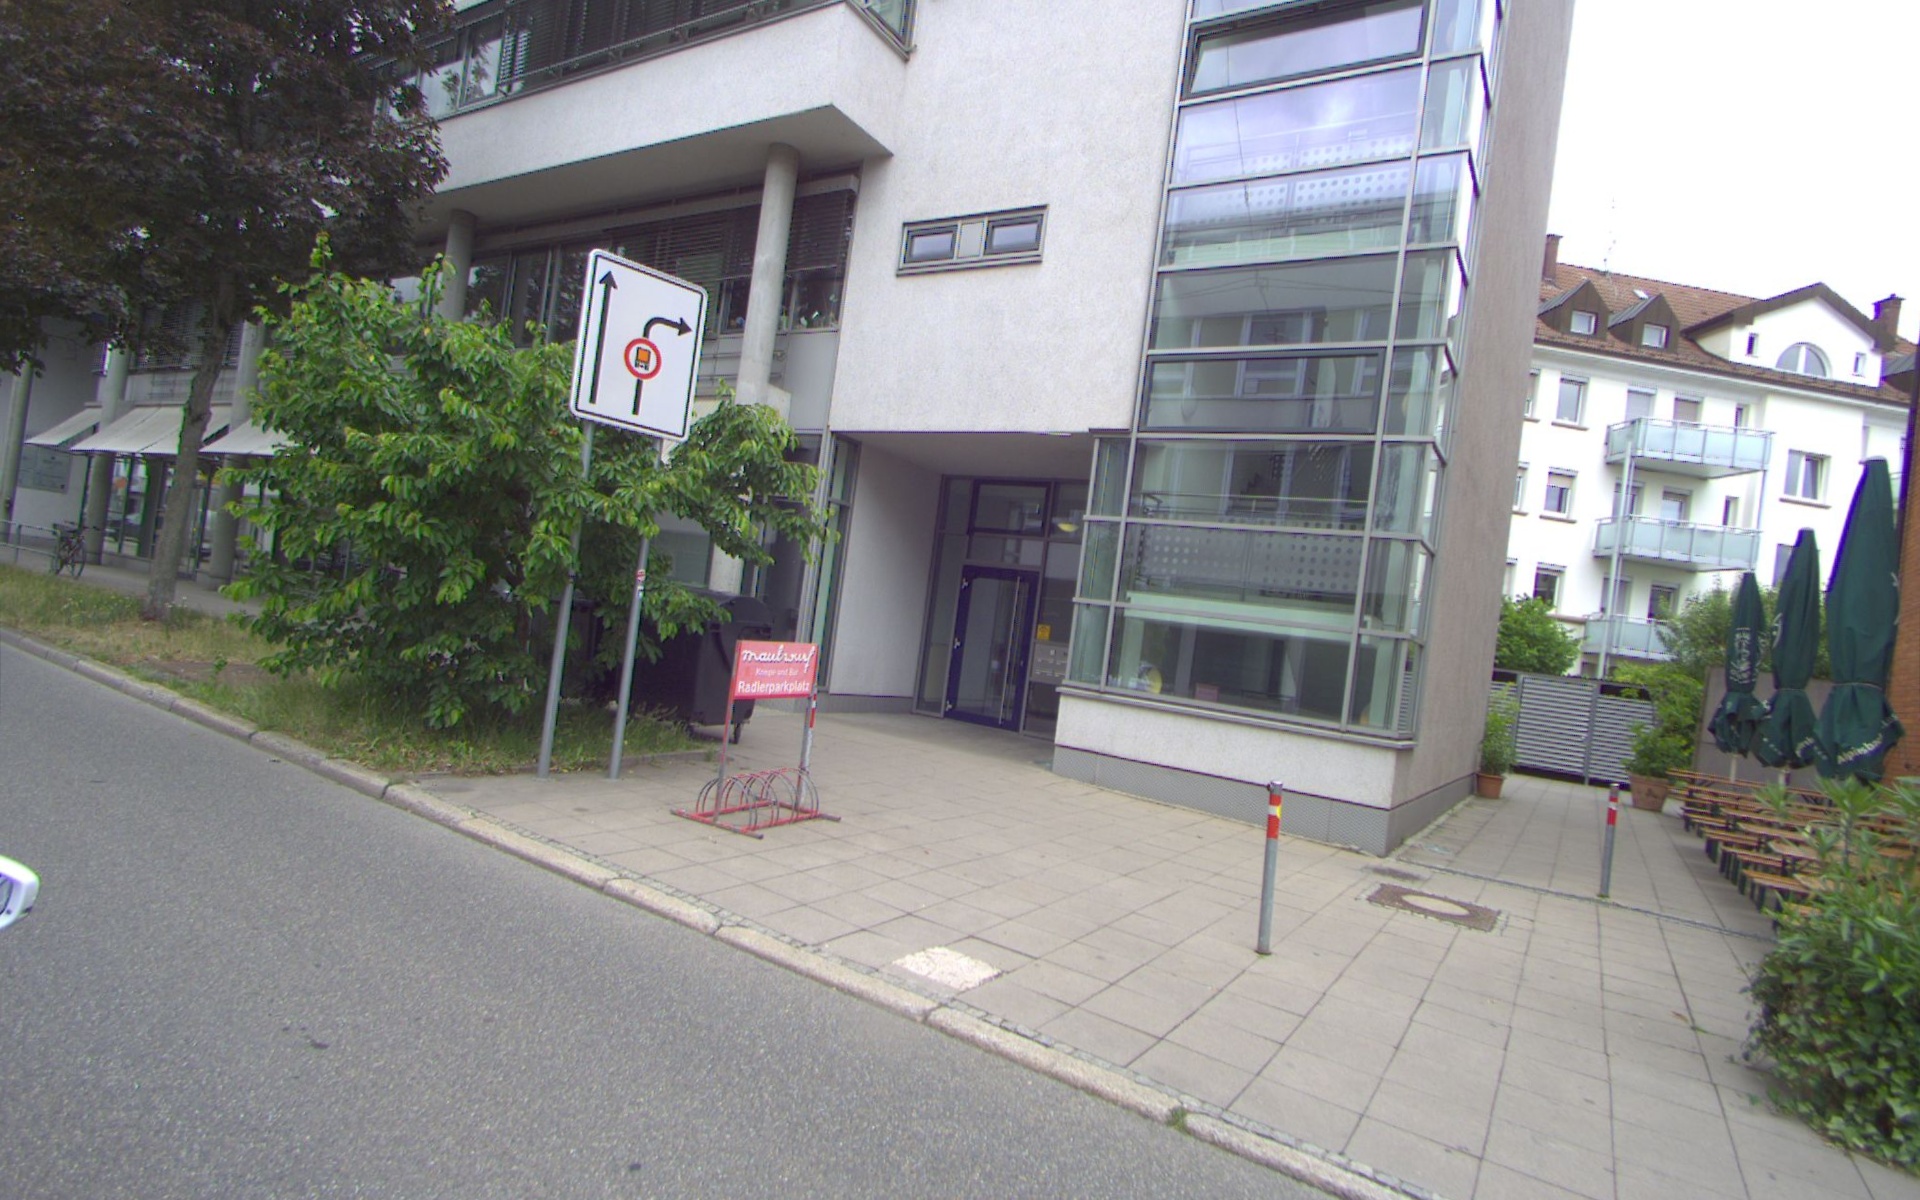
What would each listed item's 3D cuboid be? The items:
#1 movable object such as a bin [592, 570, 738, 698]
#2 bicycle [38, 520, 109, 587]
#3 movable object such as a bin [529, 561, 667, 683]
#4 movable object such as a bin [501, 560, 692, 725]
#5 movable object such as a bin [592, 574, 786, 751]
[{"bbox_3d":[-3.884,0.449,13.275,1.311,1.484,1.123,7,0,31],"label":"movable object such as a bin"},{"bbox_3d":[-17.426,-0.925,19.763,1.993,1.099,0.361,7,-2,31],"label":"bicycle"},{"bbox_3d":[-5.019,0.313,13.971,1.311,1.484,1.099,7,1,31],"label":"movable object such as a bin"},{"bbox_3d":[-3.788,0.437,10.519,1.389,1.484,1.128,7,0,31],"label":"movable object such as a bin"},{"bbox_3d":[-2.638,0.592,9.831,1.311,1.484,1.099,7,1,31],"label":"movable object such as a bin"}]
